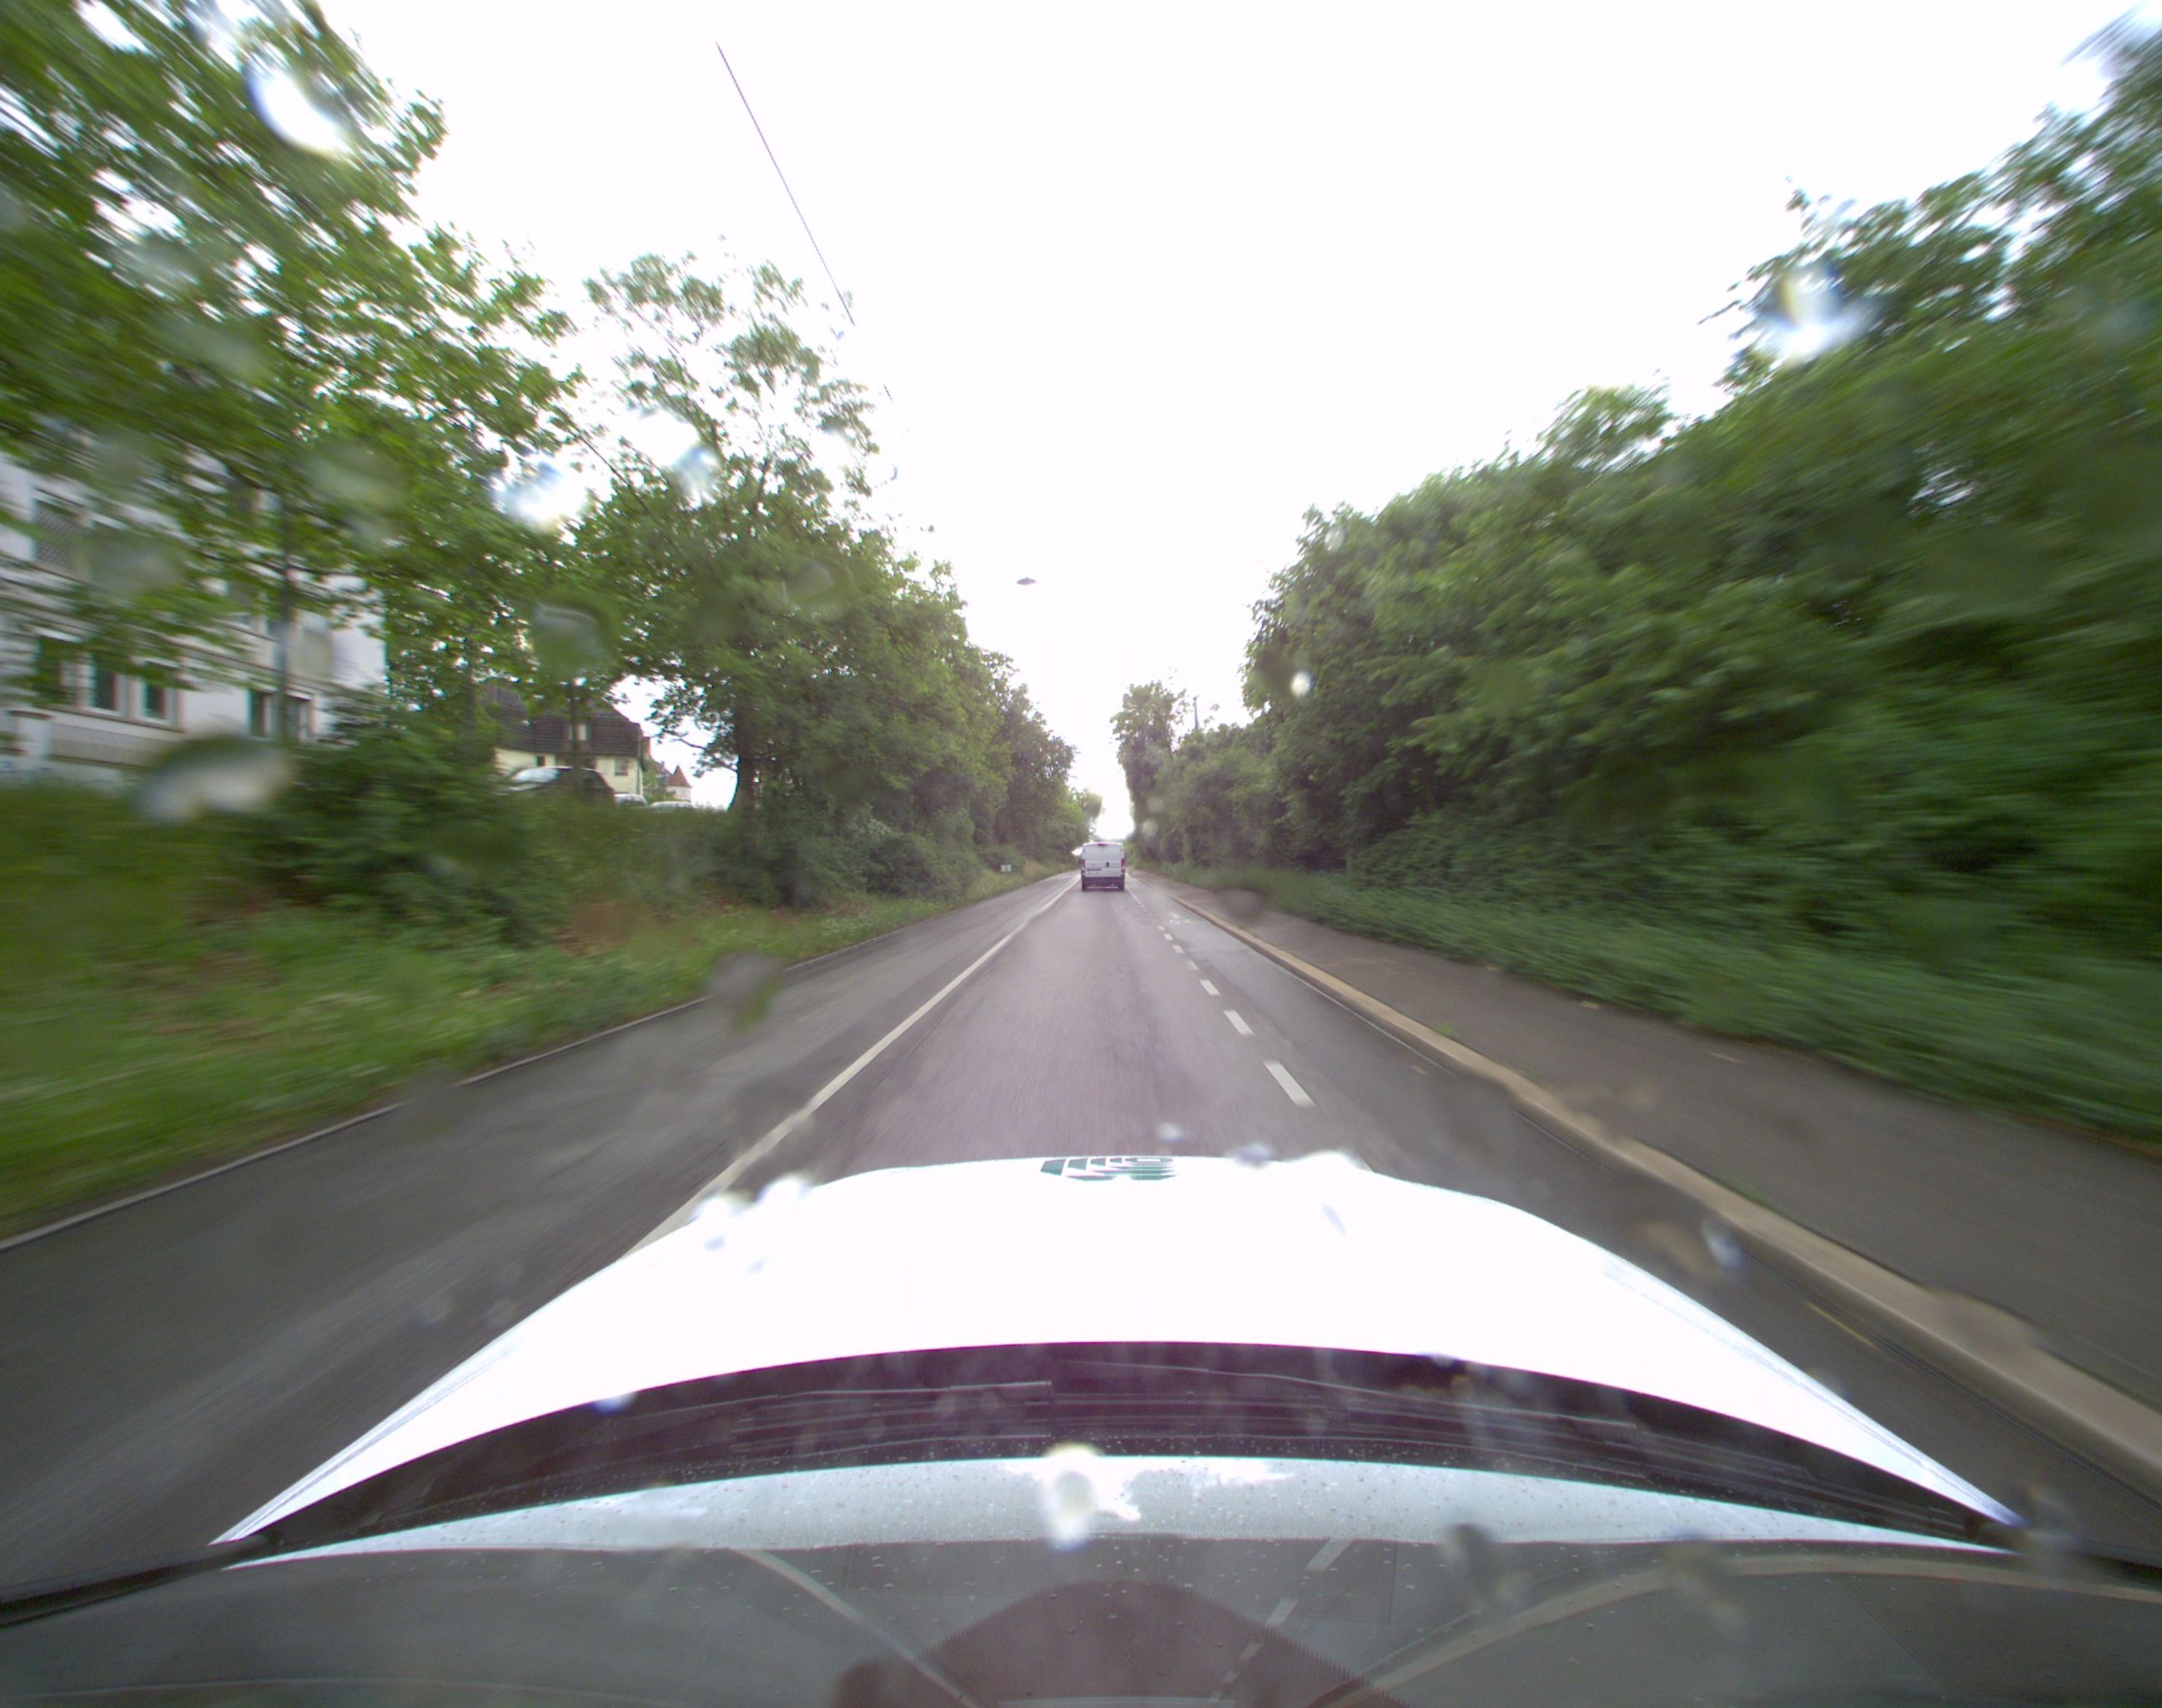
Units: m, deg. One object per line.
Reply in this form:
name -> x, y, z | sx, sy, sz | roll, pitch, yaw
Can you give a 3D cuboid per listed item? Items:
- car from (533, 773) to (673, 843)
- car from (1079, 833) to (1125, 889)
car -> -12.298, -1.128, 21.196 | 1.547, 1.440, 3.379 | -2, -2, 2
car -> 1.025, 0.324, 39.578 | 2.042, 2.516, 4.946 | 1, 0, 2
